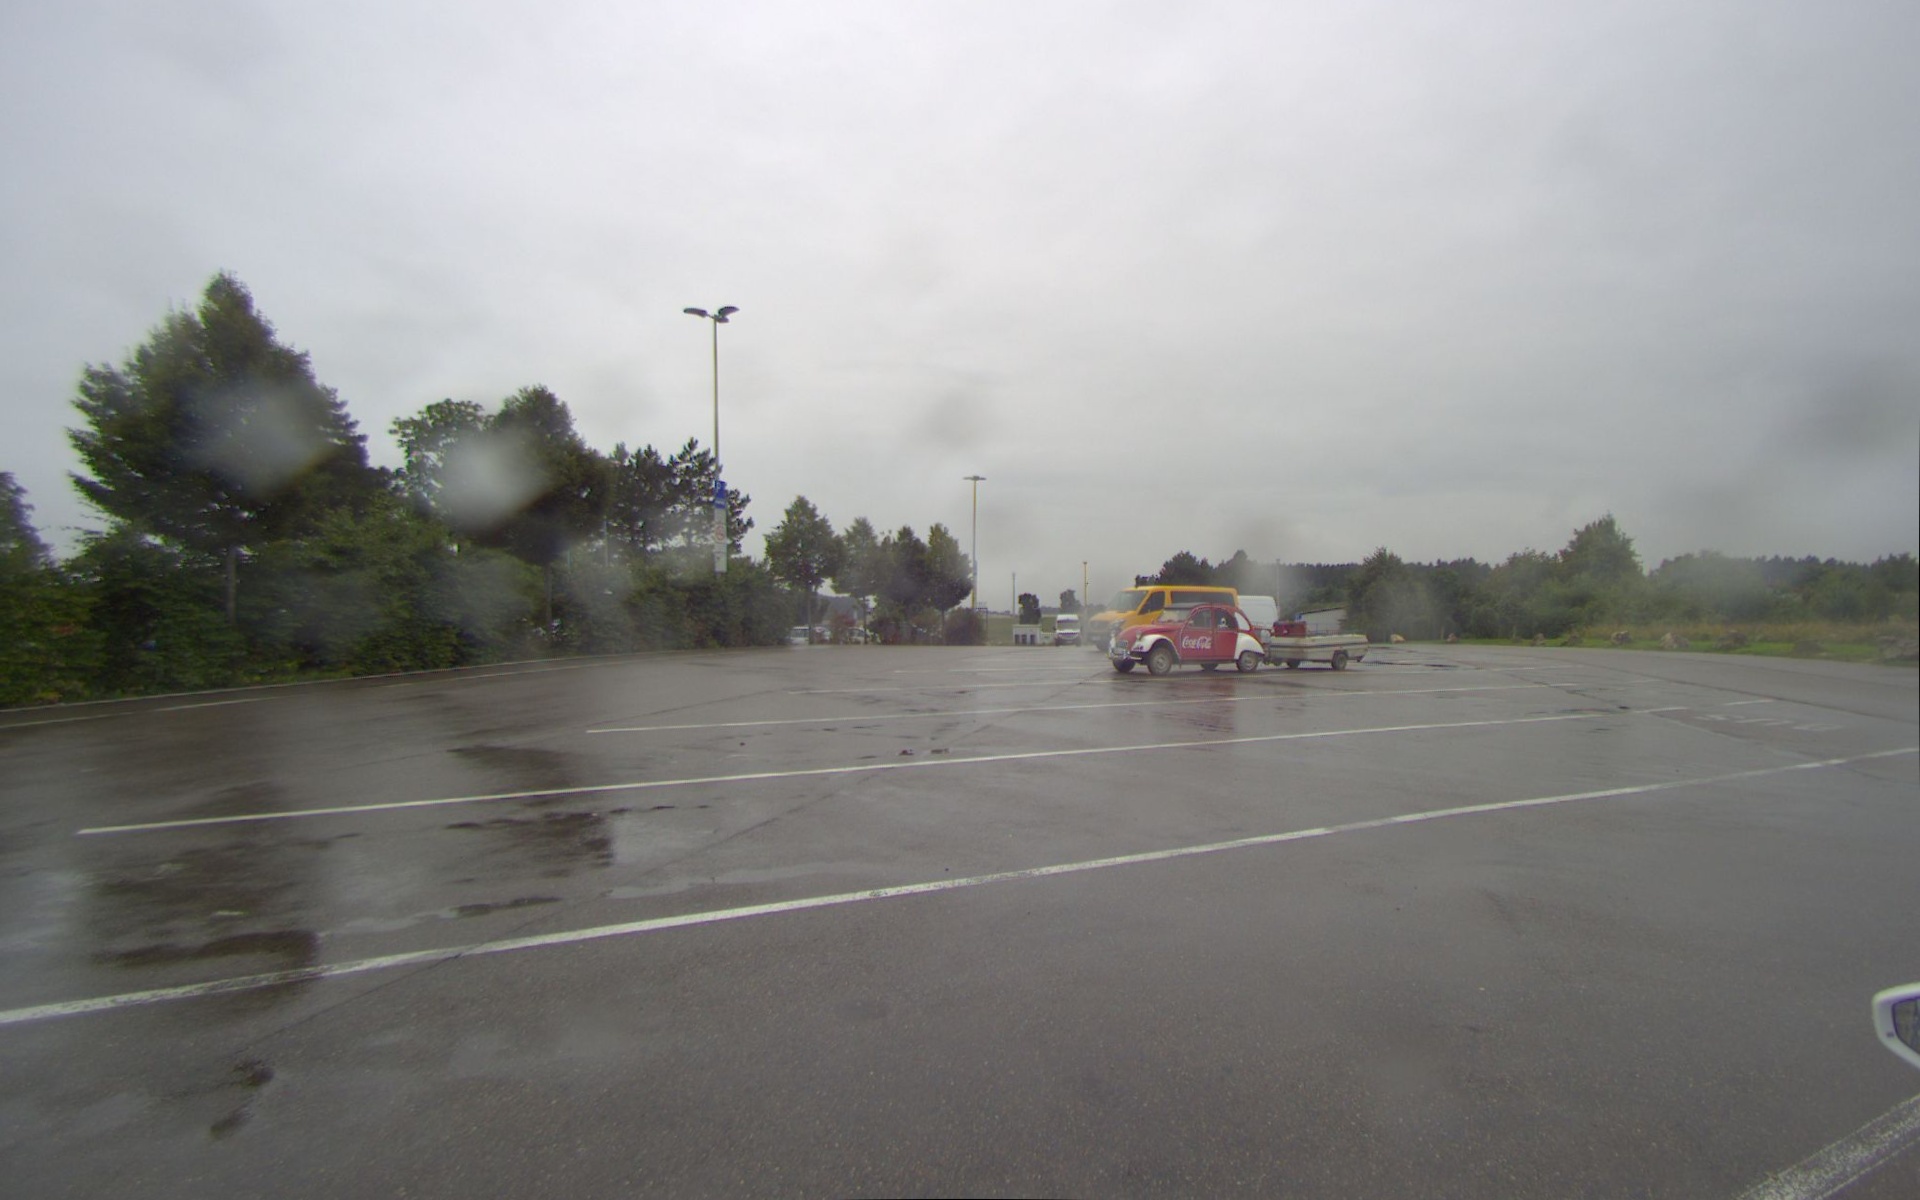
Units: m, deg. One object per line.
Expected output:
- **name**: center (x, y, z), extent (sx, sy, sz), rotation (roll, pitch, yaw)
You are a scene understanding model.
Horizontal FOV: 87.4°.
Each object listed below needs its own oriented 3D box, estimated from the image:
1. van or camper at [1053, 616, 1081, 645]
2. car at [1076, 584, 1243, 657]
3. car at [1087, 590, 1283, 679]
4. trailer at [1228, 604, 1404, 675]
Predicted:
- **van or camper**: center (8.336, 2.402, 78.531), extent (1.960, 2.195, 4.002), rotation (0, -1, 3)
- **car**: center (7.091, 0.772, 35.464), extent (5.955, 2.411, 1.985), rotation (1, -3, -30)
- **car**: center (4.935, 0.745, 21.993), extent (3.948, 1.800, 1.816), rotation (1, -2, -27)
- **trailer**: center (8.453, 0.890, 23.793), extent (3.948, 1.553, 1.689), rotation (0, -1, -27)
